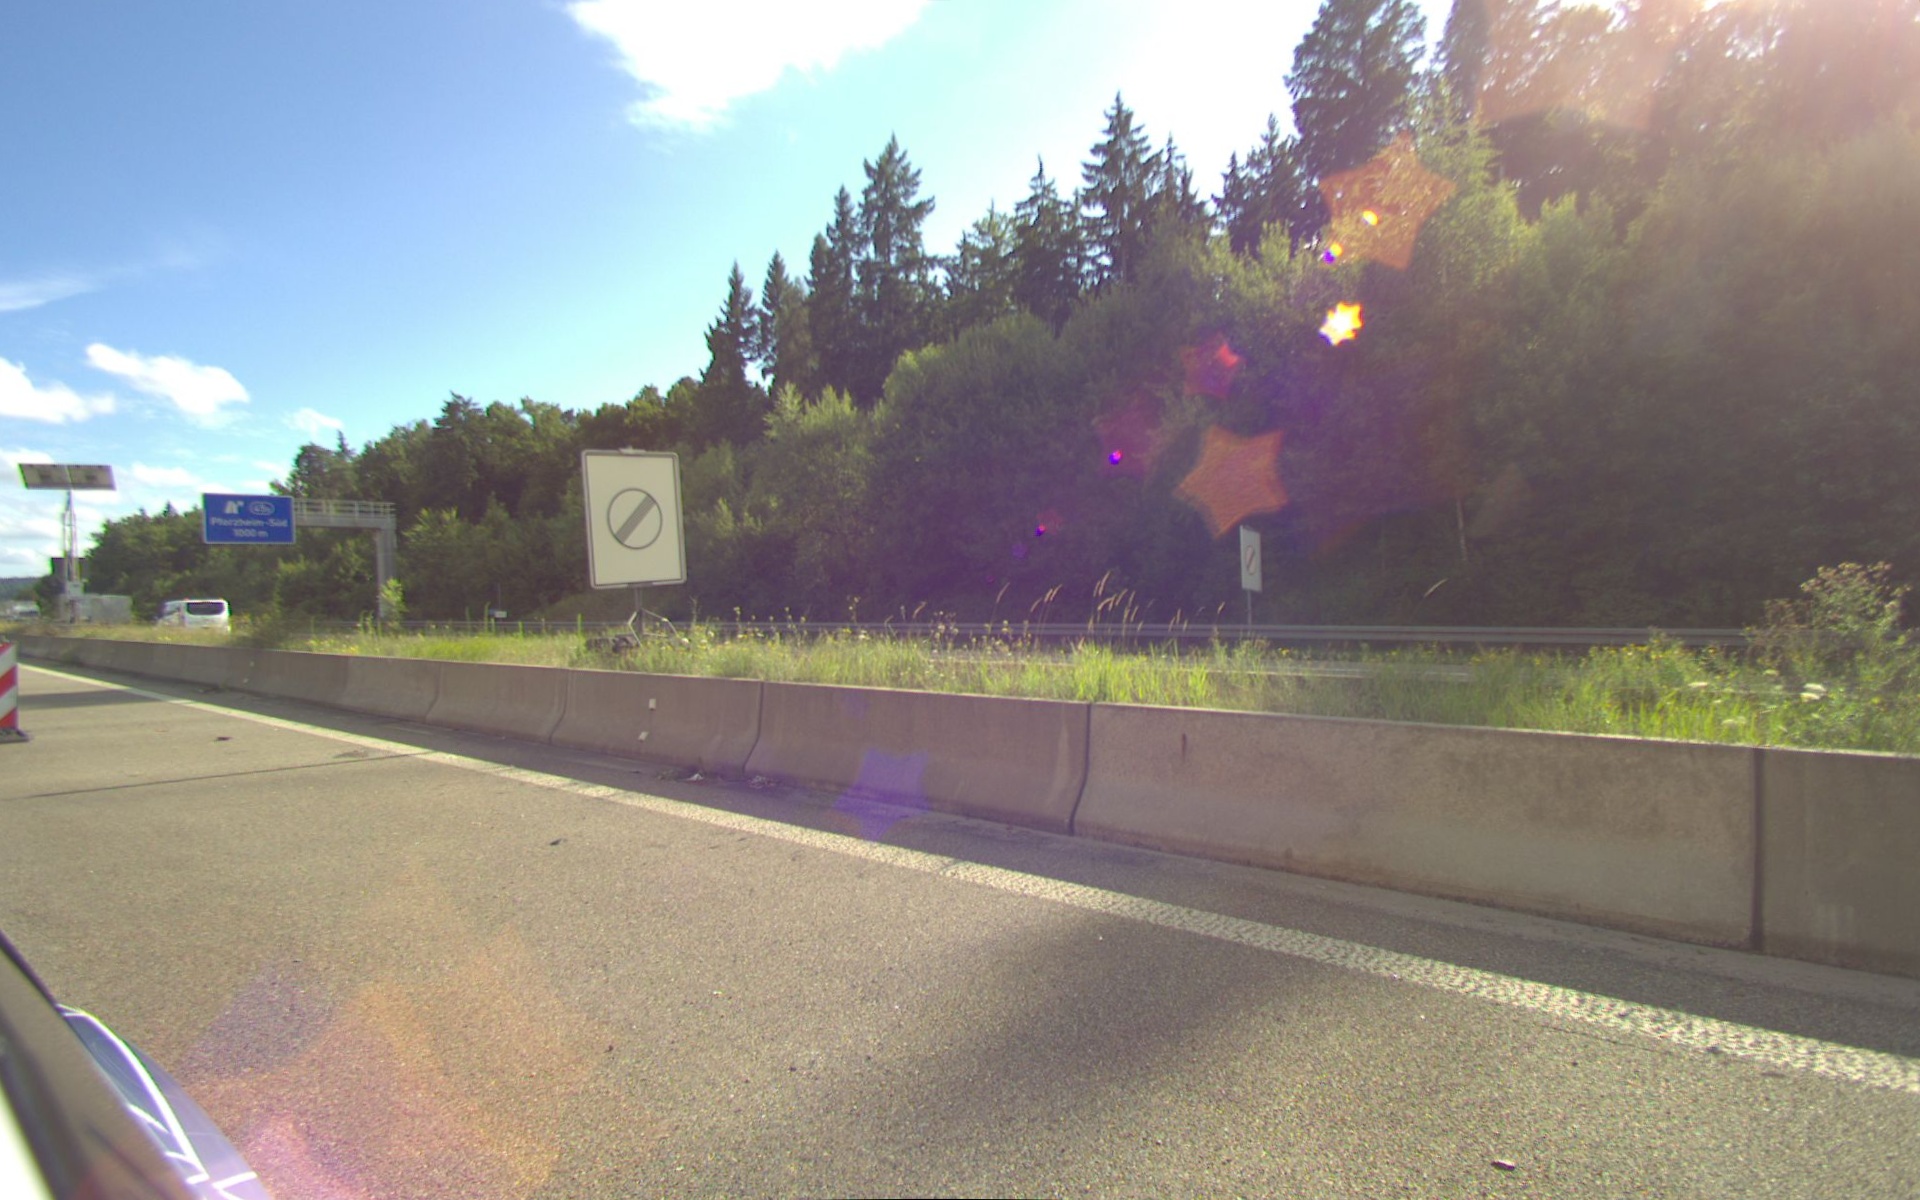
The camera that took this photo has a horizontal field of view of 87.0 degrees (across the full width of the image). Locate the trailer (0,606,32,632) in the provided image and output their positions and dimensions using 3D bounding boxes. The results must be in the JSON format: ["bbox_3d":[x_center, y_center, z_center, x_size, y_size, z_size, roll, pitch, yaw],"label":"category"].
[{"bbox_3d":[-147.888,2.907,158.491,8.484,3.953,2.762,-1,0,41],"label":"trailer"}]

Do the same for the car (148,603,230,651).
[{"bbox_3d":[-34.474,1.175,45.214,4.829,2.029,1.973,-1,0,41],"label":"car"}]

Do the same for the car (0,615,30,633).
[{"bbox_3d":[-79.514,2.013,84.903,4.309,1.398,1.760,-1,0,42],"label":"car"}]

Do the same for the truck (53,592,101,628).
[{"bbox_3d":[-101.415,1.157,116.185,10.181,4.022,2.771,-1,0,41],"label":"truck"}]

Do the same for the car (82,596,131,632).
[{"bbox_3d":[-83.854,1.311,99.376,7.448,3.395,2.461,-1,0,41],"label":"car"}]

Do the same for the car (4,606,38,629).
[{"bbox_3d":[-104.528,1.964,112.635,6.328,2.469,2.138,-1,1,41],"label":"car"}]
